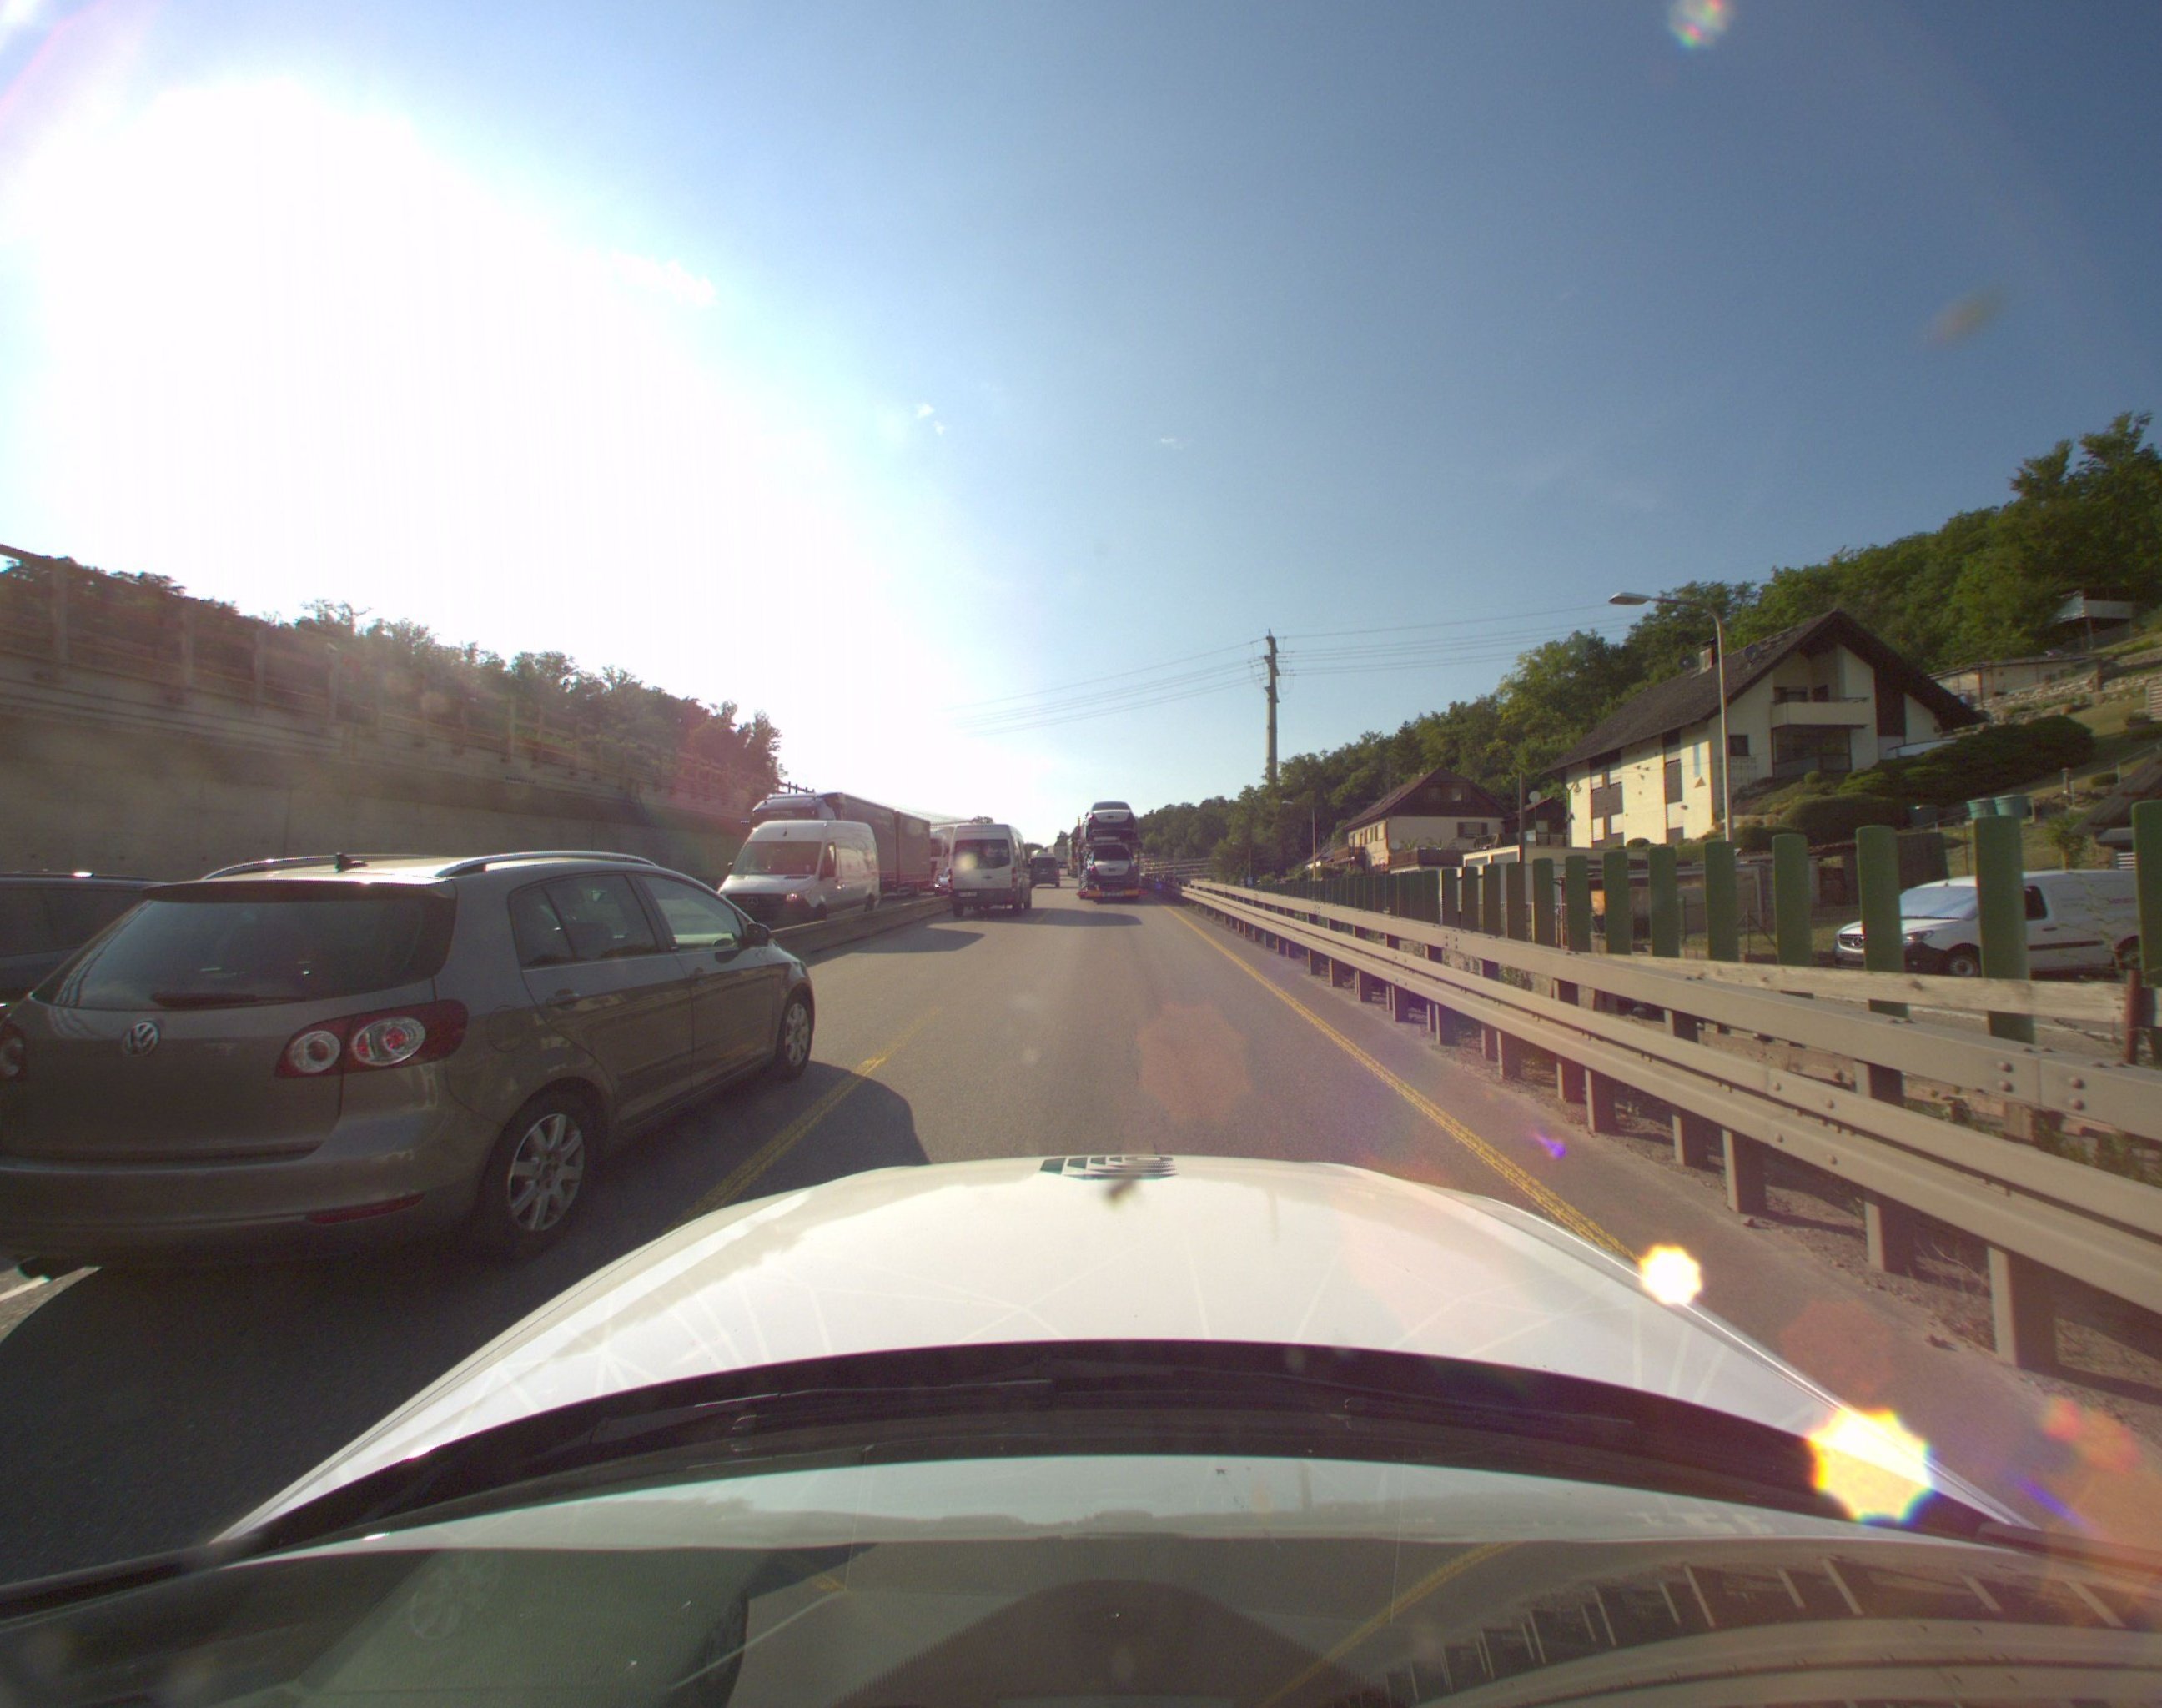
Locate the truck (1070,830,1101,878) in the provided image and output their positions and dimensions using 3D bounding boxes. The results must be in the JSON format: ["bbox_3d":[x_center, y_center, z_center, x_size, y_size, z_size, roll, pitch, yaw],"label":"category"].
[{"bbox_3d":[0.439,0.032,82.181,2.898,4.607,7.284,1,-1,0],"label":"truck"}]

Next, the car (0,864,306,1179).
[{"bbox_3d":[-6.527,0.833,3.352,1.830,1.594,4.869,2,-2,1],"label":"car"}]

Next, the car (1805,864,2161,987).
[{"bbox_3d":[15.385,1.197,13.963,4.115,1.737,1.852,-3,-3,2],"label":"car"}]

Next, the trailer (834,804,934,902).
[{"bbox_3d":[-9.320,0.017,39.789,2.598,4.113,9.622,-2,-1,-1],"label":"trailer"}]

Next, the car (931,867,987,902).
[{"bbox_3d":[-5.674,1.407,38.464,1.765,1.537,4.404,1,-2,2],"label":"car"}]

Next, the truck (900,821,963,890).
[{"bbox_3d":[-9.472,0.169,52.324,2.701,4.093,6.201,2,-2,0],"label":"truck"}]

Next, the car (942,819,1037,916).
[{"bbox_3d":[-2.661,0.414,25.187,1.985,2.648,5.534,1,-1,3],"label":"car"}]

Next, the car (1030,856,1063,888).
[{"bbox_3d":[-2.182,1.171,52.535,1.802,1.904,4.000,2,-2,1],"label":"car"}]

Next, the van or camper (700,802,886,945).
[{"bbox_3d":[-6.279,0.411,18.726,1.986,2.707,5.958,-2,-1,1],"label":"van or camper"}]

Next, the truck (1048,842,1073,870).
[{"bbox_3d":[-3.735,0.461,144.242,4.056,4.680,10.578,1,-1,-3],"label":"truck"}]

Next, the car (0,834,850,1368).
[{"bbox_3d":[-2.824,0.746,4.582,1.674,1.588,4.274,0,0,2],"label":"car"}]

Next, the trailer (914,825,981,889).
[{"bbox_3d":[-9.492,0.381,59.626,2.701,4.093,12.564,2,-2,0],"label":"trailer"}]

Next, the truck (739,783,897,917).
[{"bbox_3d":[-9.276,-0.068,30.148,2.615,4.113,9.625,-1,-1,0],"label":"truck"}]

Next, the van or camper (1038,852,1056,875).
[{"bbox_3d":[-3.900,1.128,94.294,1.963,2.592,5.037,2,-2,-2],"label":"van or camper"}]

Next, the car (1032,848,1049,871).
[{"bbox_3d":[-9.310,1.272,186.629,3.435,5.035,9.647,2,-1,-1],"label":"car"}]

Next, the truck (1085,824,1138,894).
[{"bbox_3d":[1.731,0.338,44.615,2.671,3.535,7.198,0,-2,3],"label":"truck"}]

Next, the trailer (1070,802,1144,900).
[{"bbox_3d":[1.347,0.102,37.047,2.671,3.535,15.298,0,-2,3],"label":"trailer"}]
